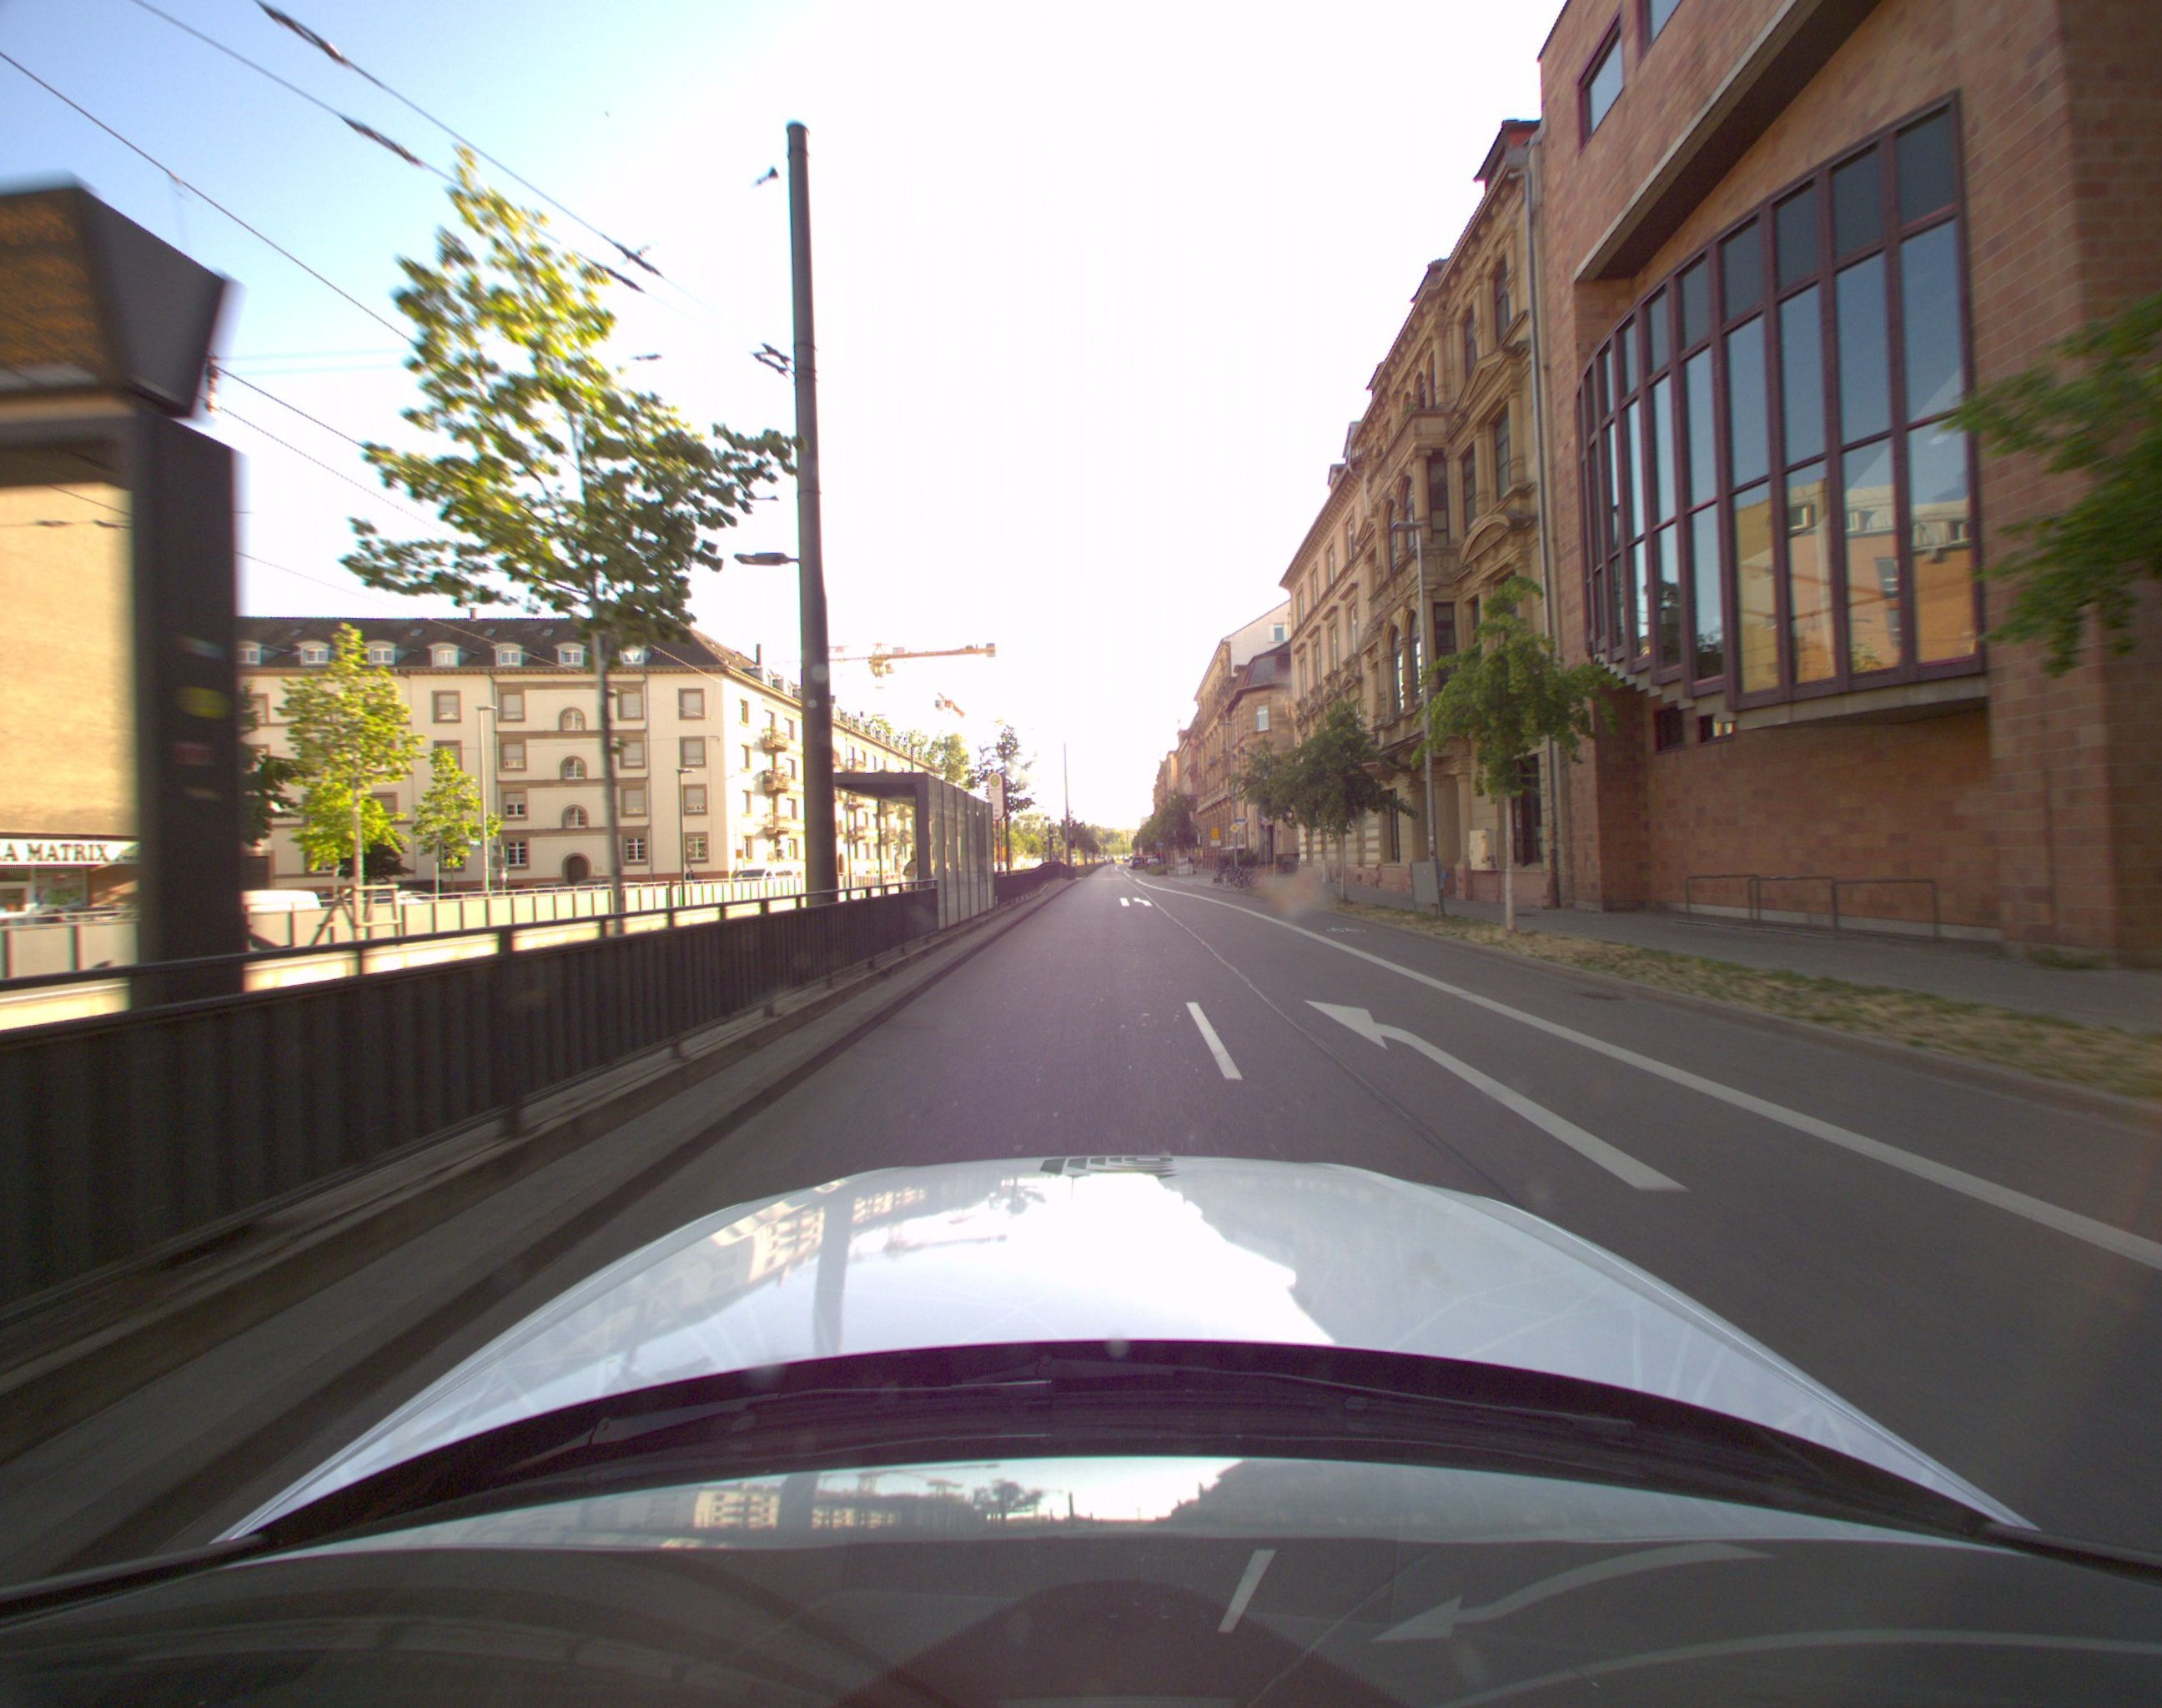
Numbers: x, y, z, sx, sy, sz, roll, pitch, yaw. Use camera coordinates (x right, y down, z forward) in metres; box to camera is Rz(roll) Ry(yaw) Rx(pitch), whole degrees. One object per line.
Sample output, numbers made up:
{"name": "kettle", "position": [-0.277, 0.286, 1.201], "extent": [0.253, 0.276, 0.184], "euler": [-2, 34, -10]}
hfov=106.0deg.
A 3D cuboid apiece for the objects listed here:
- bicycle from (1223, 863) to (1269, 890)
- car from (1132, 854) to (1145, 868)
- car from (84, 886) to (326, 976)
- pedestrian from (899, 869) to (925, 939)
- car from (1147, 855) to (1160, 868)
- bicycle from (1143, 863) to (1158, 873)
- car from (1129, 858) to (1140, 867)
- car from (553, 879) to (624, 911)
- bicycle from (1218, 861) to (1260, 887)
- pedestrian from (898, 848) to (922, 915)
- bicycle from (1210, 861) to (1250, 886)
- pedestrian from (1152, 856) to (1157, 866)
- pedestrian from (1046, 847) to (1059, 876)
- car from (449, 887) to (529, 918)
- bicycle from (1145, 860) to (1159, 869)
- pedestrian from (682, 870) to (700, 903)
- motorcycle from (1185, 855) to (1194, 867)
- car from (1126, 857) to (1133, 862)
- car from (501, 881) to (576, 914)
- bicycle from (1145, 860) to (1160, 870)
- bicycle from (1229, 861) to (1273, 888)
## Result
{"name": "bicycle", "position": [7.414, 1.006, 36.653], "extent": [1.821, 1.064, 0.663], "euler": [-5, 0, -4]}
{"name": "car", "position": [8.648, 1.104, 123.234], "extent": [1.877, 1.937, 4.478], "euler": [-3, 0, 4]}
{"name": "car", "position": [-24.424, 2.062, 22.971], "extent": [1.982, 2.013, 4.156], "euler": [-3, 0, 8]}
{"name": "pedestrian", "position": [-2.980, 0.867, 14.365], "extent": [0.406, 1.190, 0.428], "euler": [-2, -1, -11]}
{"name": "car", "position": [9.512, 1.020, 106.788], "extent": [1.629, 1.486, 4.217], "euler": [-4, 0, 5]}
{"name": "bicycle", "position": [8.676, 1.764, 101.693], "extent": [1.685, 1.048, 0.490], "euler": [-6, -1, 2]}
{"name": "car", "position": [8.951, 1.406, 136.642], "extent": [1.841, 1.457, 4.160], "euler": [-3, 0, 4]}
{"name": "car", "position": [-29.303, 2.408, 48.648], "extent": [1.833, 1.585, 4.126], "euler": [-3, 0, -3]}
{"name": "bicycle", "position": [7.644, 0.971, 39.406], "extent": [1.821, 1.064, 0.663], "euler": [-5, 0, -4]}
{"name": "pedestrian", "position": [-3.644, 0.583, 17.362], "extent": [0.428, 1.385, 0.406], "euler": [-2, -1, -10]}
{"name": "bicycle", "position": [7.477, 0.966, 40.885], "extent": [1.821, 1.064, 0.663], "euler": [-5, 0, -4]}
{"name": "pedestrian", "position": [11.437, 1.051, 126.968], "extent": [0.623, 1.460, 0.638], "euler": [-2, -1, 2]}
{"name": "pedestrian", "position": [-1.674, 0.444, 47.706], "extent": [0.652, 1.643, 0.867], "euler": [-2, -2, 2]}
{"name": "car", "position": [-34.611, 2.798, 47.766], "extent": [1.833, 1.501, 3.995], "euler": [-3, 0, -3]}
{"name": "bicycle", "position": [8.647, 1.278, 98.817], "extent": [1.574, 1.048, 0.488], "euler": [-4, 0, -6]}
{"name": "pedestrian", "position": [-25.189, 2.092, 52.591], "extent": [0.797, 2.013, 0.626], "euler": [-3, 0, 2]}
{"name": "motorcycle", "position": [13.547, 0.855, 101.585], "extent": [0.792, 1.308, 2.853], "euler": [-5, 0, 2]}
{"name": "car", "position": [15.156, 1.715, 255.795], "extent": [1.787, 1.464, 4.010], "euler": [-3, -1, 9]}
{"name": "car", "position": [-31.974, 2.540, 48.108], "extent": [1.833, 1.585, 3.995], "euler": [-3, 0, -3]}
{"name": "bicycle", "position": [8.495, 1.301, 96.992], "extent": [1.574, 1.048, 0.488], "euler": [-4, 0, -6]}
{"name": "bicycle", "position": [7.919, 0.970, 38.013], "extent": [1.821, 1.064, 0.663], "euler": [-5, 0, -4]}
